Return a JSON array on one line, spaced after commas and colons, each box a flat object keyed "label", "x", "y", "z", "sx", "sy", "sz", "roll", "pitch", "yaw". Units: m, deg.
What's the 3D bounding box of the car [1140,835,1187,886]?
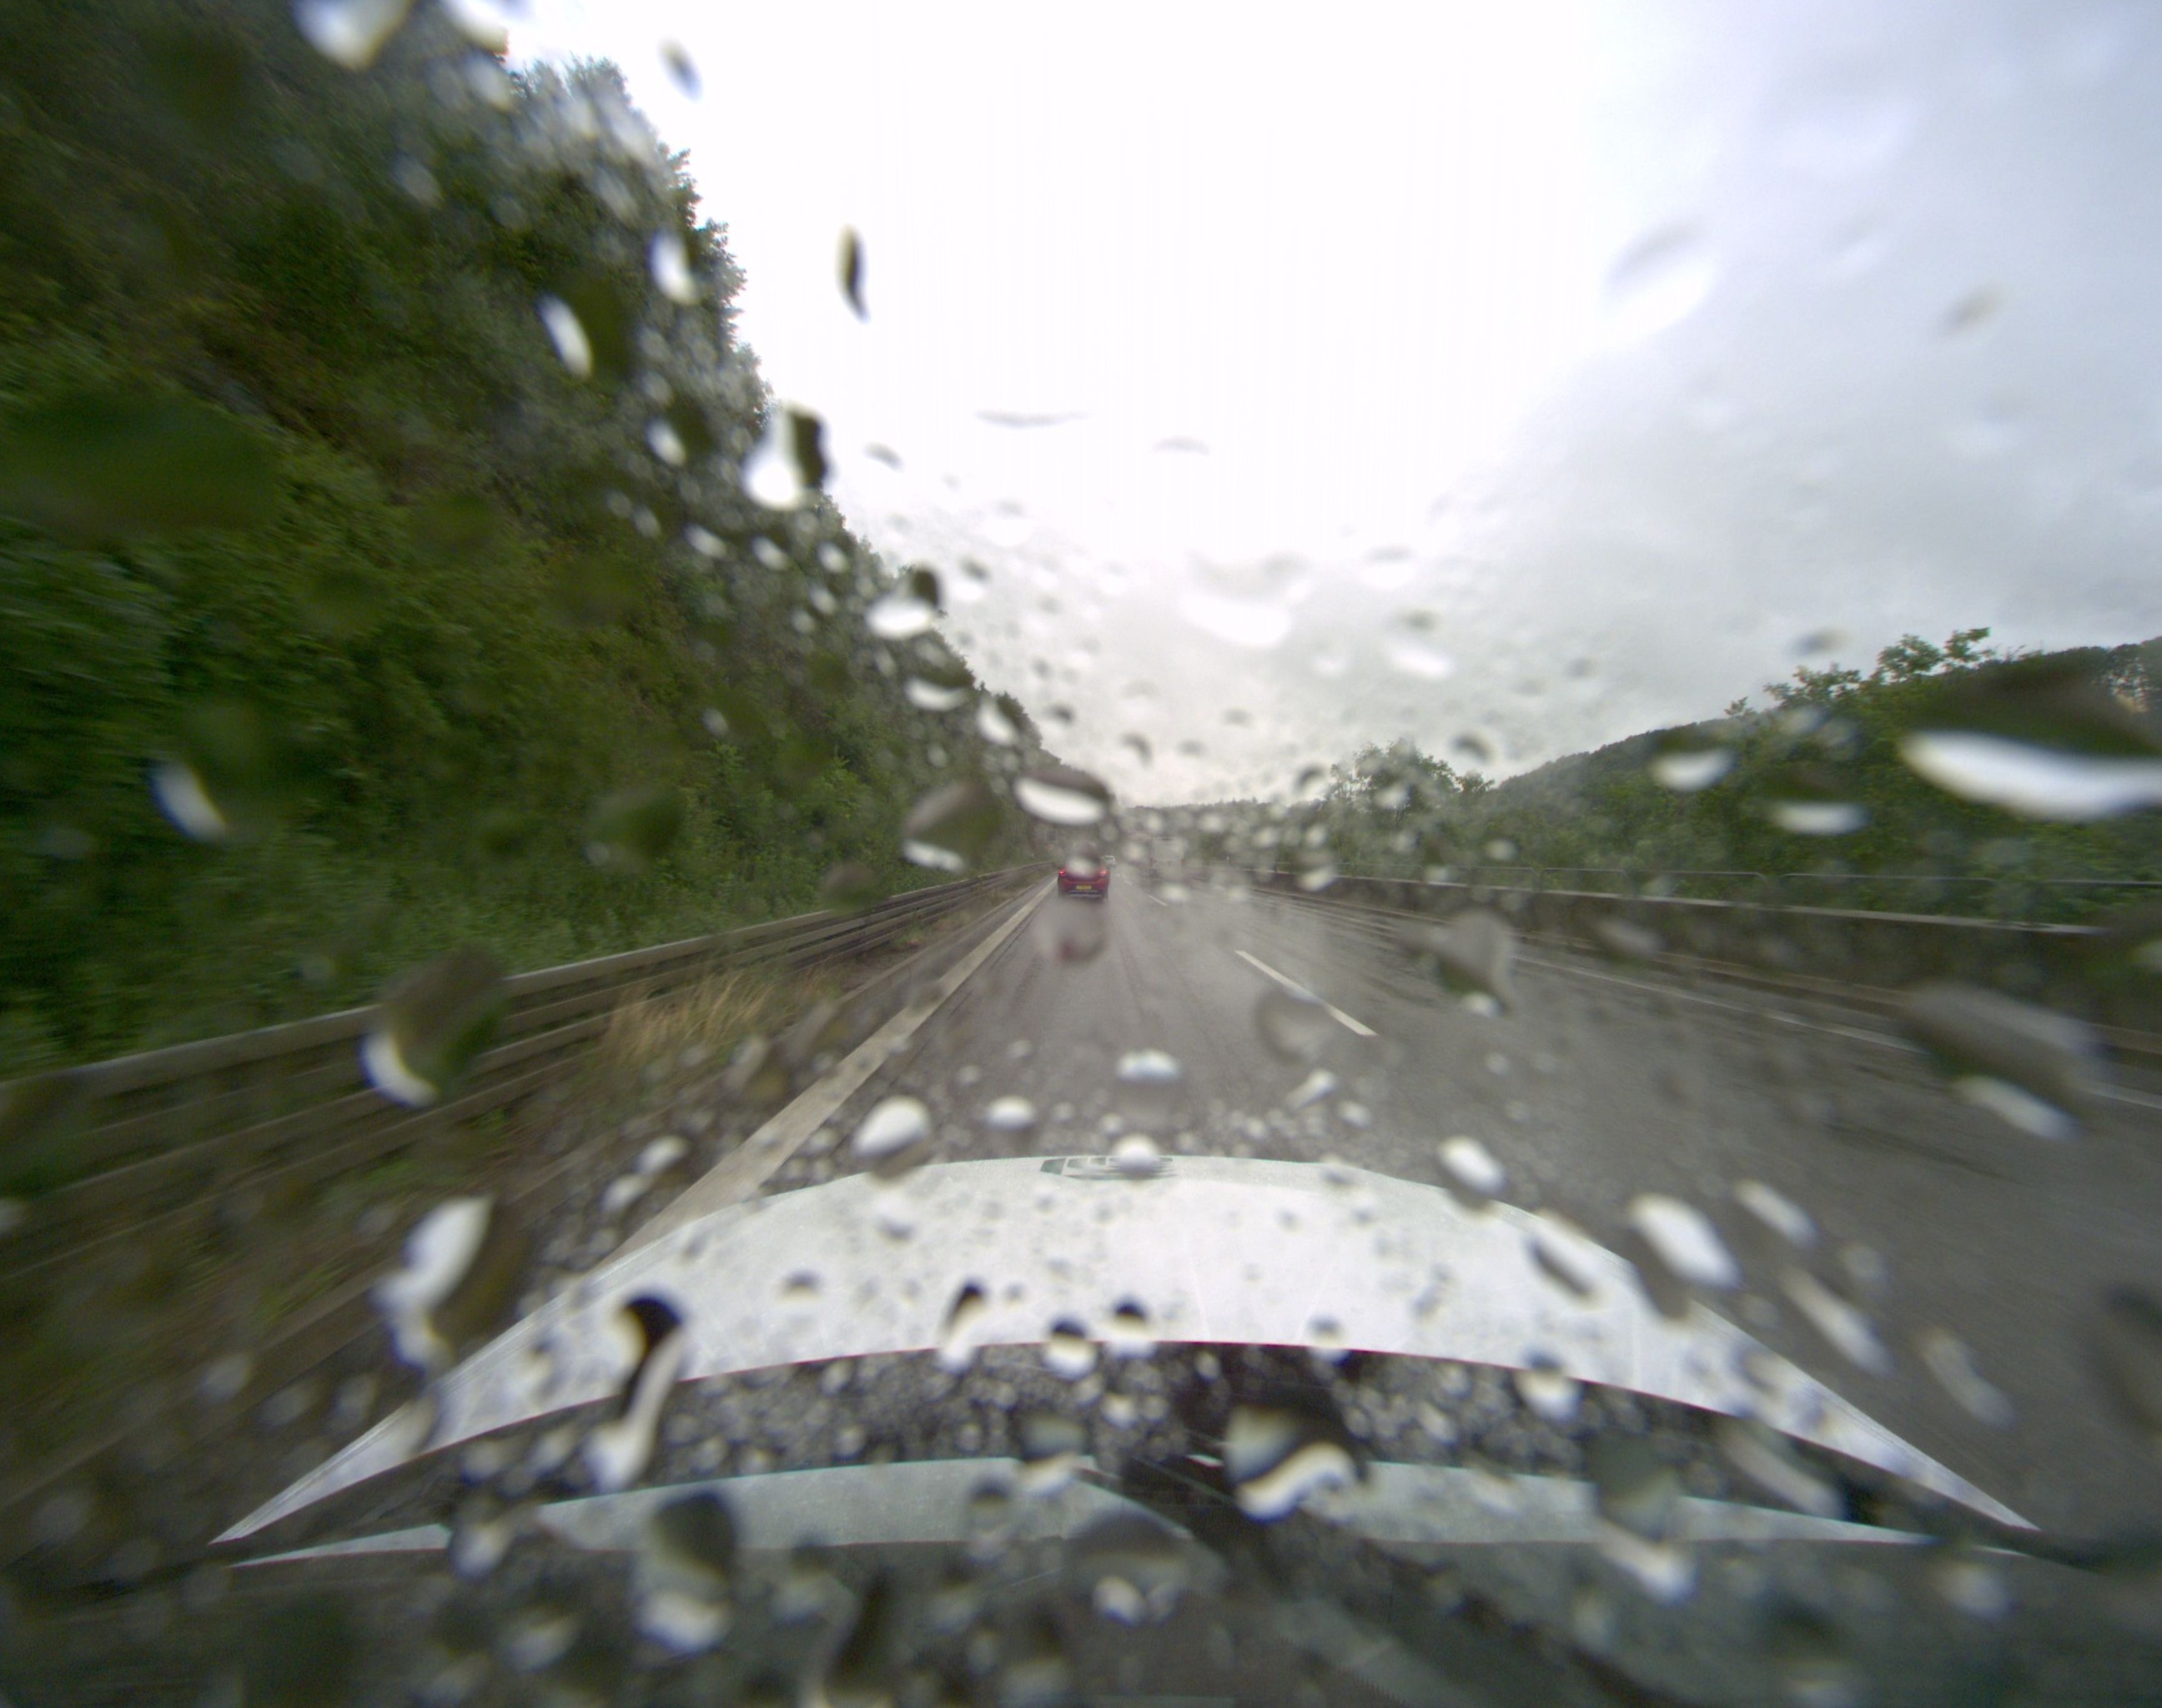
[{"label": "car", "x": 4.881, "y": 0.372, "z": 49.344, "sx": 2.198, "sy": 2.794, "sz": 7.384, "roll": 2, "pitch": 0, "yaw": 1}]

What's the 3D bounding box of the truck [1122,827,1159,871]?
[{"label": "truck", "x": 5.599, "y": -0.454, "z": 77.492, "sx": 3.208, "sy": 3.978, "sz": 5.440, "roll": 0, "pitch": 0, "yaw": 1}]

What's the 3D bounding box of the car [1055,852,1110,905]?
[{"label": "car", "x": 0.092, "y": 0.817, "z": 28.758, "sx": 1.752, "sy": 1.684, "sz": 4.000, "roll": -2, "pitch": -1, "yaw": 1}]

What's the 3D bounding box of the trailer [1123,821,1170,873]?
[{"label": "trailer", "x": 5.430, "y": -0.490, "z": 70.020, "sx": 3.207, "sy": 3.999, "sz": 13.525, "roll": 0, "pitch": 0, "yaw": 1}]

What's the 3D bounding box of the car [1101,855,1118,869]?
[{"label": "car", "x": 3.423, "y": 0.971, "z": 98.200, "sx": 1.985, "sy": 1.639, "sz": 4.003, "roll": -2, "pitch": -1, "yaw": 3}]

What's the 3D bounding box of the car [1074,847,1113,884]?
[{"label": "car", "x": 0.647, "y": 0.589, "z": 40.684, "sx": 1.826, "sy": 1.715, "sz": 3.645, "roll": -2, "pitch": -1, "yaw": 1}]
